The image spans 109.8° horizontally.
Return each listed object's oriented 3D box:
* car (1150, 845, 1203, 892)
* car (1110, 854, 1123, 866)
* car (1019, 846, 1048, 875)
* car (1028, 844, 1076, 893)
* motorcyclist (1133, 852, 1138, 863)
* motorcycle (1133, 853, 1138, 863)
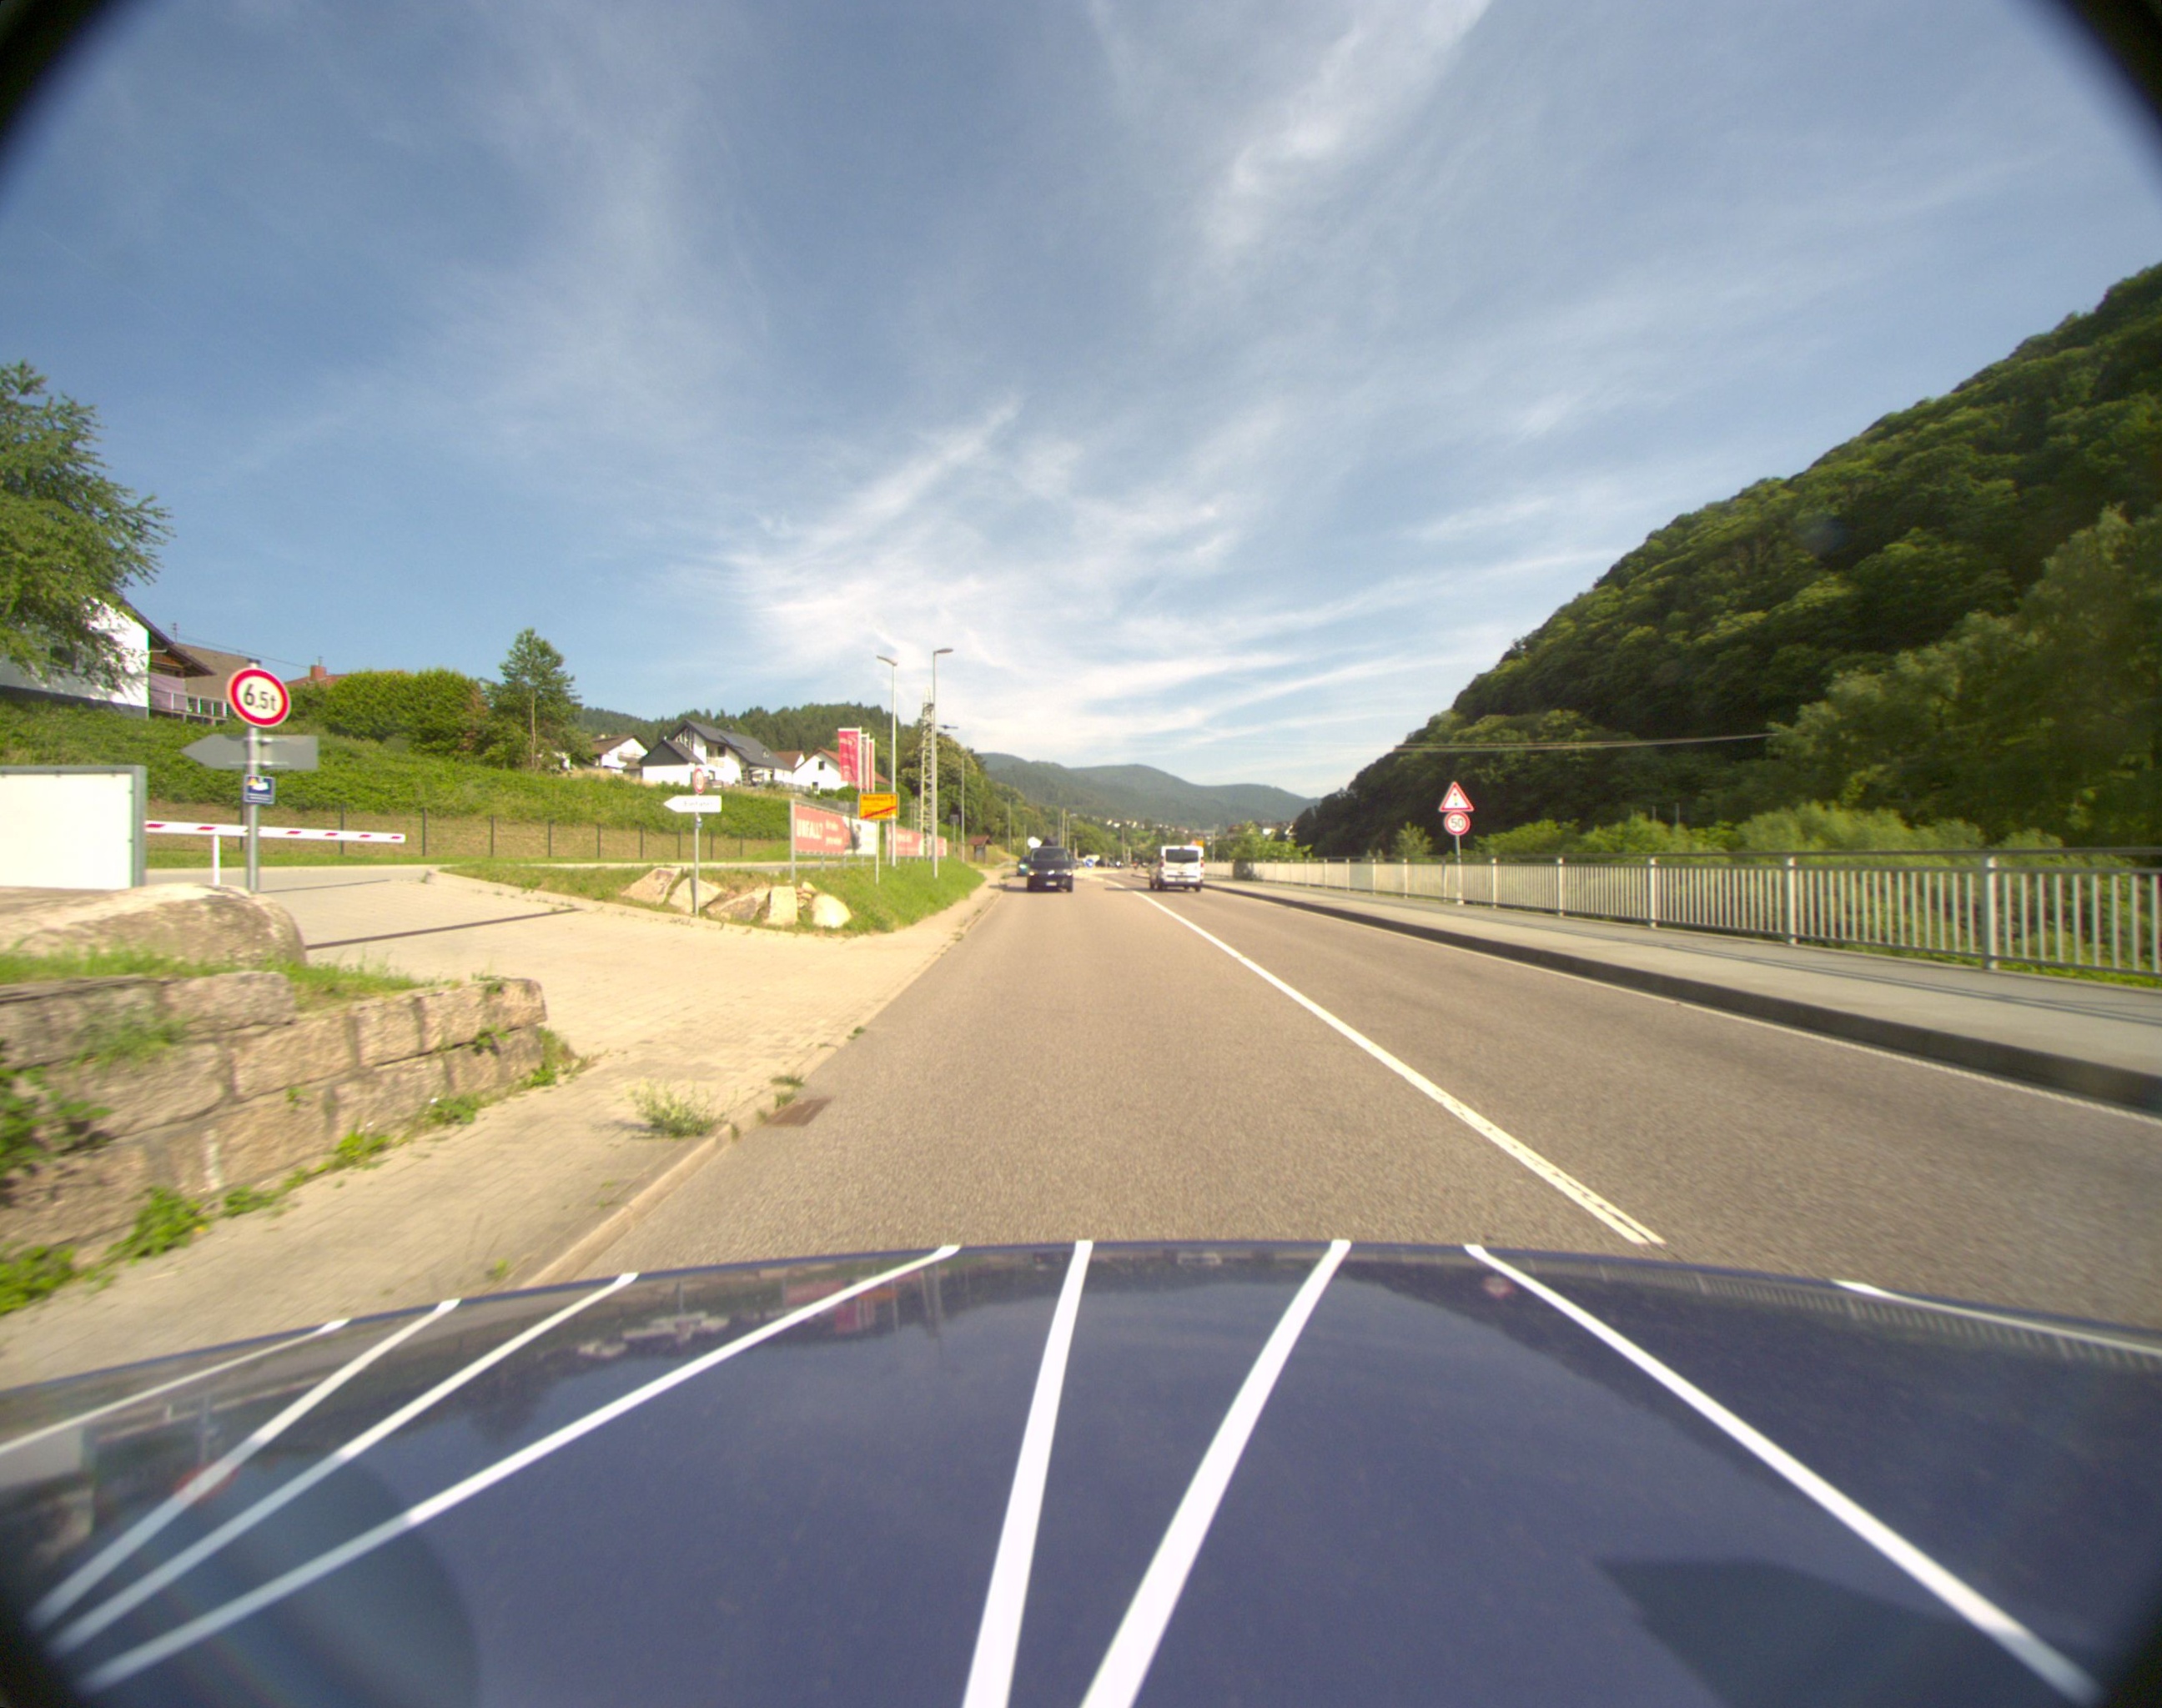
[{"bbox_3d":[4.187,0.560,34.193,1.924,1.956,5.146,0,1,2],"label":"car"},{"bbox_3d":[5.909,1.005,126.245,1.909,2.001,4.001,-1,-1,1],"label":"car"},{"bbox_3d":[-3.433,0.479,55.411,1.613,2.001,3.824,-1,-1,3],"label":"car"},{"bbox_3d":[-1.343,0.578,33.213,1.866,1.936,4.636,2,0,-4],"label":"car"},{"bbox_3d":[8.496,0.536,118.626,0.764,1.668,0.727,1,1,5],"label":"motorcyclist"},{"bbox_3d":[8.471,0.631,118.568,0.774,1.414,2.319,1,0,4],"label":"motorcycle"}]
